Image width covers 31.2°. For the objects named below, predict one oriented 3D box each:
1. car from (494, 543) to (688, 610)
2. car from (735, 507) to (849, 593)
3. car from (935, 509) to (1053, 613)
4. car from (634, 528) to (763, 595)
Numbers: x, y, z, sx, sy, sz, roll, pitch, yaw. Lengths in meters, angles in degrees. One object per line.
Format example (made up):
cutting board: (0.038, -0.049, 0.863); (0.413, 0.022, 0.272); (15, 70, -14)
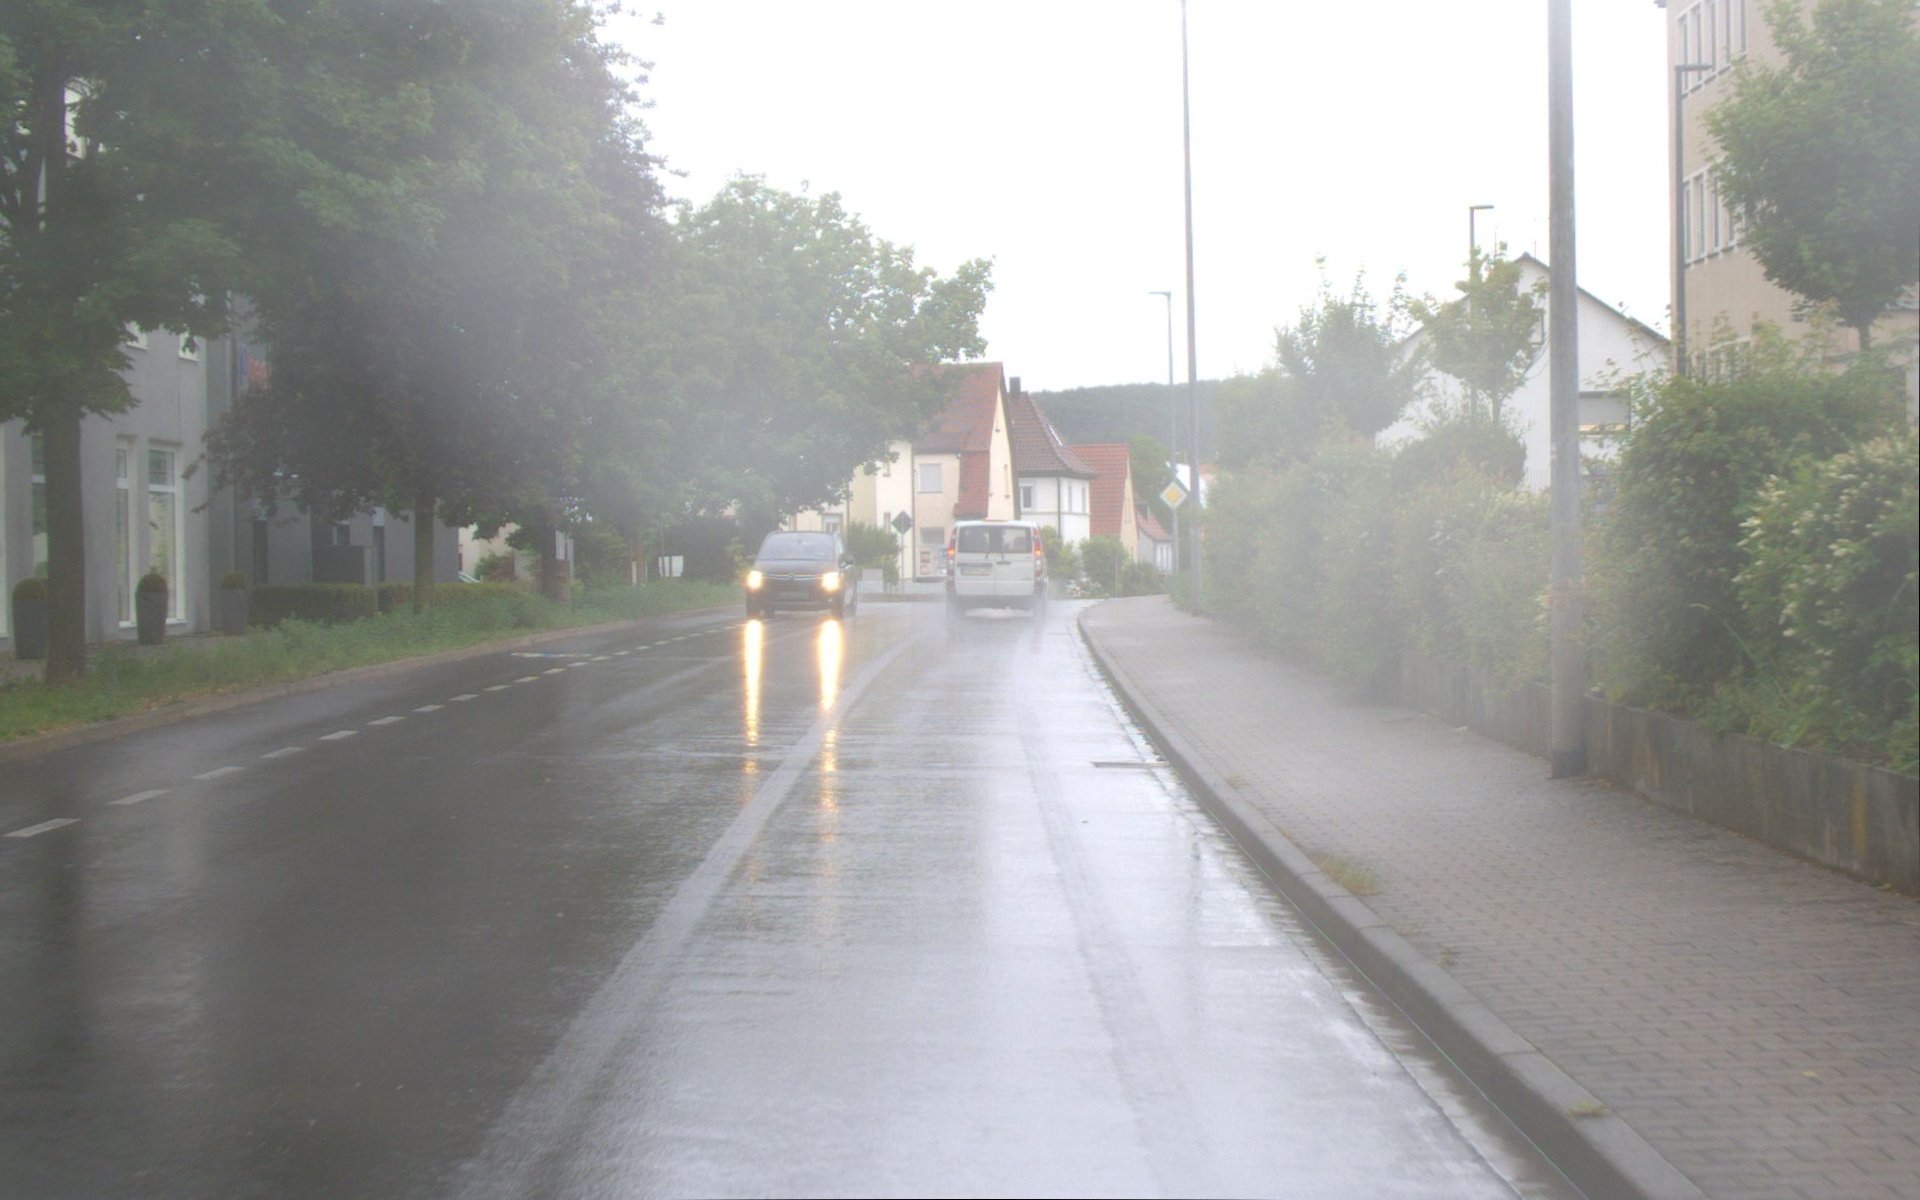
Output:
car: (-7.896, -0.504, 73.699); (3.900, 1.280, 1.582); (-2, 0, 3)
car: (-3.165, -0.982, 65.484); (1.850, 1.549, 4.502); (0, 2, 1)
car: (0.610, -0.774, 65.560); (2.117, 1.881, 4.502); (0, 2, -1)
car: (-6.252, -0.917, 82.266); (2.908, 1.450, 1.253); (-2, -2, 3)
